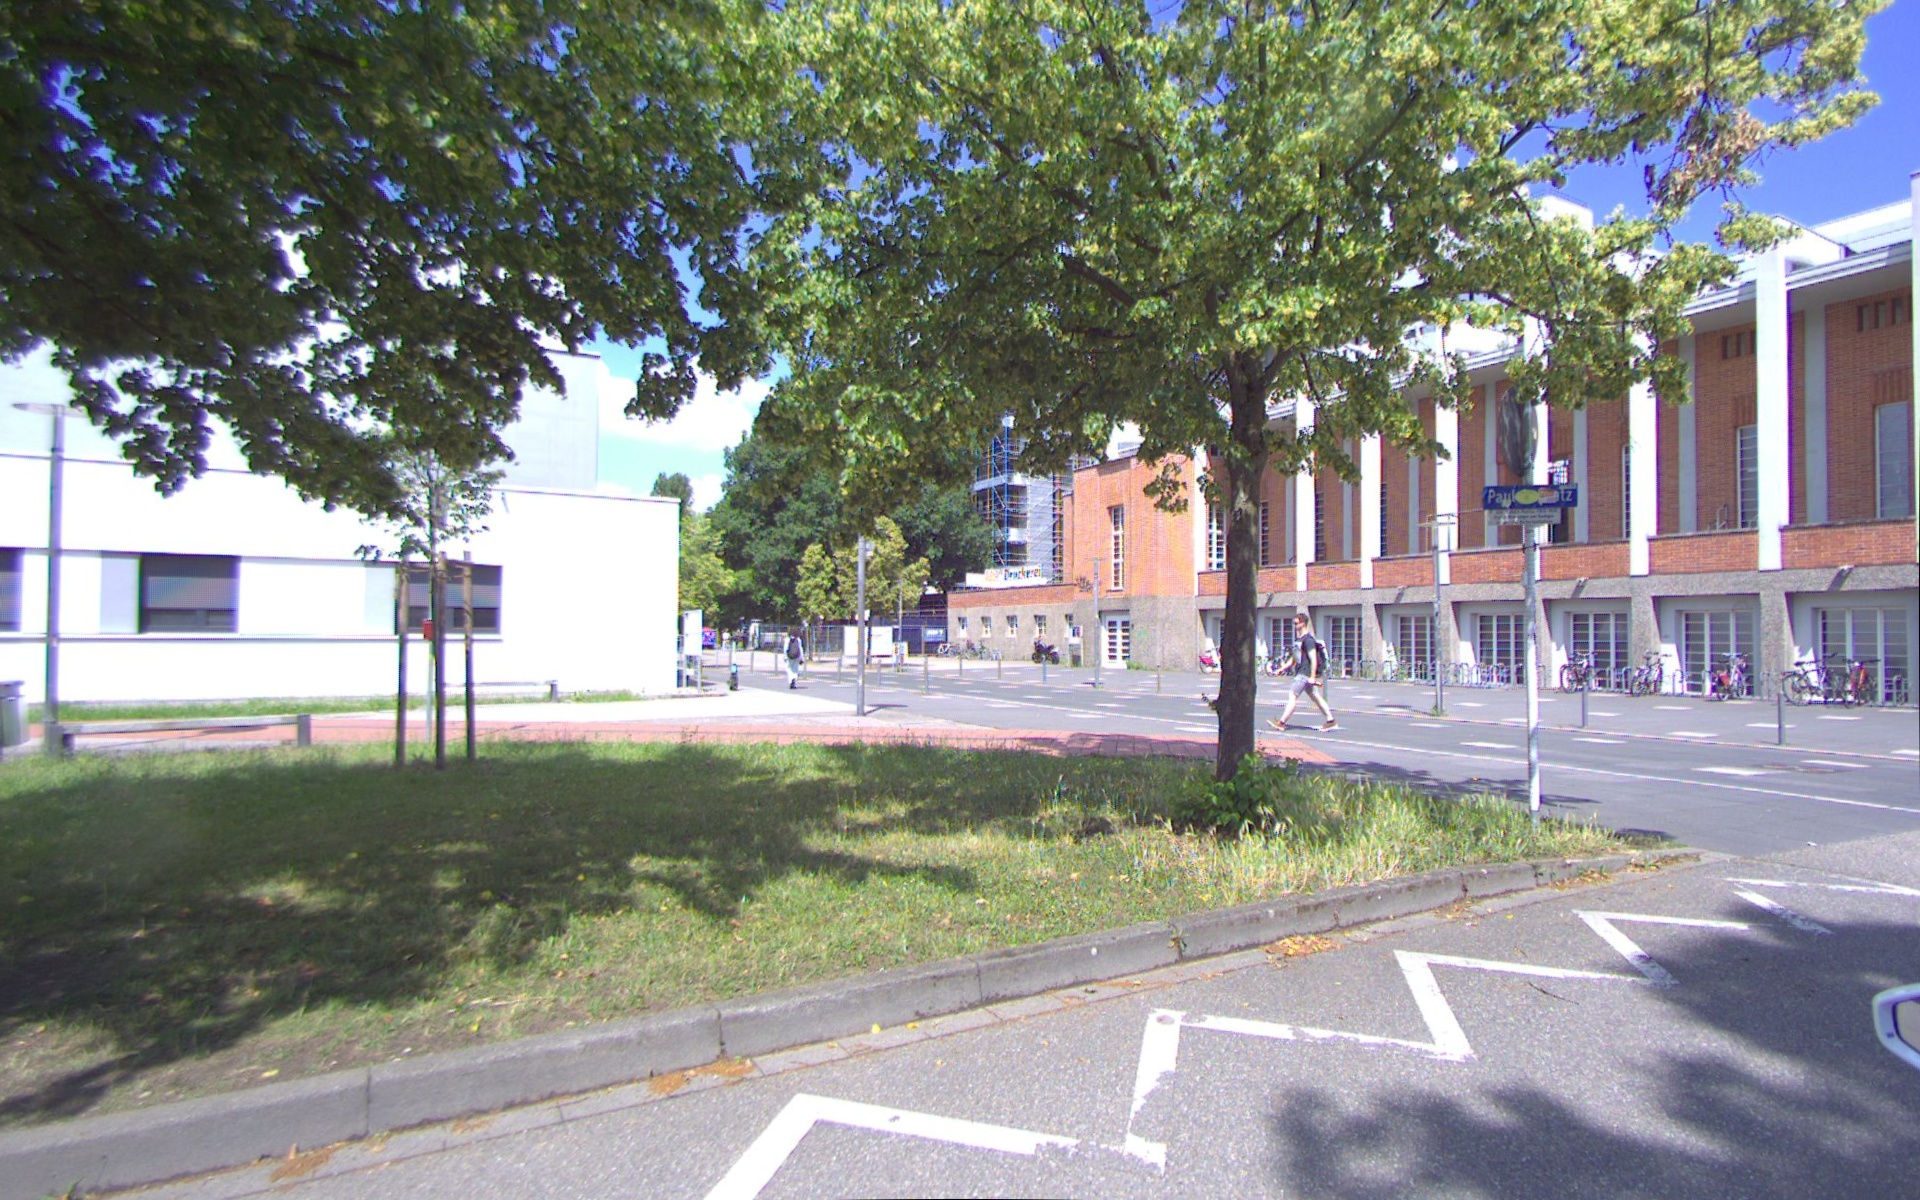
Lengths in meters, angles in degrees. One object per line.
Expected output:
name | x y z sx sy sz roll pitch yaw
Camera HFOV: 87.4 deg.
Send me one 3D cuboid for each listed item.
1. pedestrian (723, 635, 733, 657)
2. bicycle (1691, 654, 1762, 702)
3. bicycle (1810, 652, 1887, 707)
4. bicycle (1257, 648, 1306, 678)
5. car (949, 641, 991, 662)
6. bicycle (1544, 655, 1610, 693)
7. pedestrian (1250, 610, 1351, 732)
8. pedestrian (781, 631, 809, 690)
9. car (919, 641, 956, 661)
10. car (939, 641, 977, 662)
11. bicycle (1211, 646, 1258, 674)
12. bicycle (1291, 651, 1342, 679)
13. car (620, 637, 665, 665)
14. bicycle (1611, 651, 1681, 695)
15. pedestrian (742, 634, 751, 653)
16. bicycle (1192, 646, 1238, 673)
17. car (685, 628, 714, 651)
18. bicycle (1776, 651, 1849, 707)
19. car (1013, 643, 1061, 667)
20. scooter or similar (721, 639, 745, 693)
pedestrian | -21.168 4.207 91.588 0.749 2.040 0.566 1 -2 -25
bicycle | 18.165 1.828 23.780 1.992 1.096 0.617 1 -2 -30
bicycle | 19.273 1.707 21.770 2.003 1.140 0.588 1 -2 -28
bicycle | 11.616 2.254 36.289 1.934 1.043 0.526 1 -2 -30
car | 0.604 2.985 58.173 2.340 1.196 0.789 1 -2 -27
bicycle | 16.605 1.976 27.011 1.934 0.973 0.679 1 -2 -30
pedestrian | 5.355 1.118 15.829 1.150 1.823 1.020 2 -3 -10
pedestrian | -4.137 1.510 25.183 0.518 1.458 0.696 1 -2 -26
car | -1.360 3.131 61.794 2.297 1.196 0.476 1 -2 -28
car | -0.109 3.052 59.704 2.261 1.196 0.520 1 -2 -28
bicycle | 10.508 2.302 38.414 1.934 1.043 0.514 1 -2 -30
bicycle | 12.493 2.275 35.147 1.934 0.953 0.564 1 -2 -30
car | -16.827 2.672 53.169 1.535 1.404 3.427 1 -2 -30
bicycle | 17.392 1.827 25.453 2.004 1.075 0.658 1 -2 -30
pedestrian | -17.050 3.477 80.124 0.633 1.559 0.451 1 -2 -18
bicycle | 9.975 2.318 39.276 1.934 1.043 0.537 1 -2 -30
car | -21.727 3.283 83.803 1.886 1.906 3.980 1 -3 -22
bicycle | 18.999 1.735 22.371 2.000 1.140 0.436 0 -1 -25
car | 3.894 2.794 50.905 2.497 1.196 0.628 1 -2 -28
scooter or similar | -5.379 1.543 23.811 0.322 1.252 1.067 1 -2 -26
